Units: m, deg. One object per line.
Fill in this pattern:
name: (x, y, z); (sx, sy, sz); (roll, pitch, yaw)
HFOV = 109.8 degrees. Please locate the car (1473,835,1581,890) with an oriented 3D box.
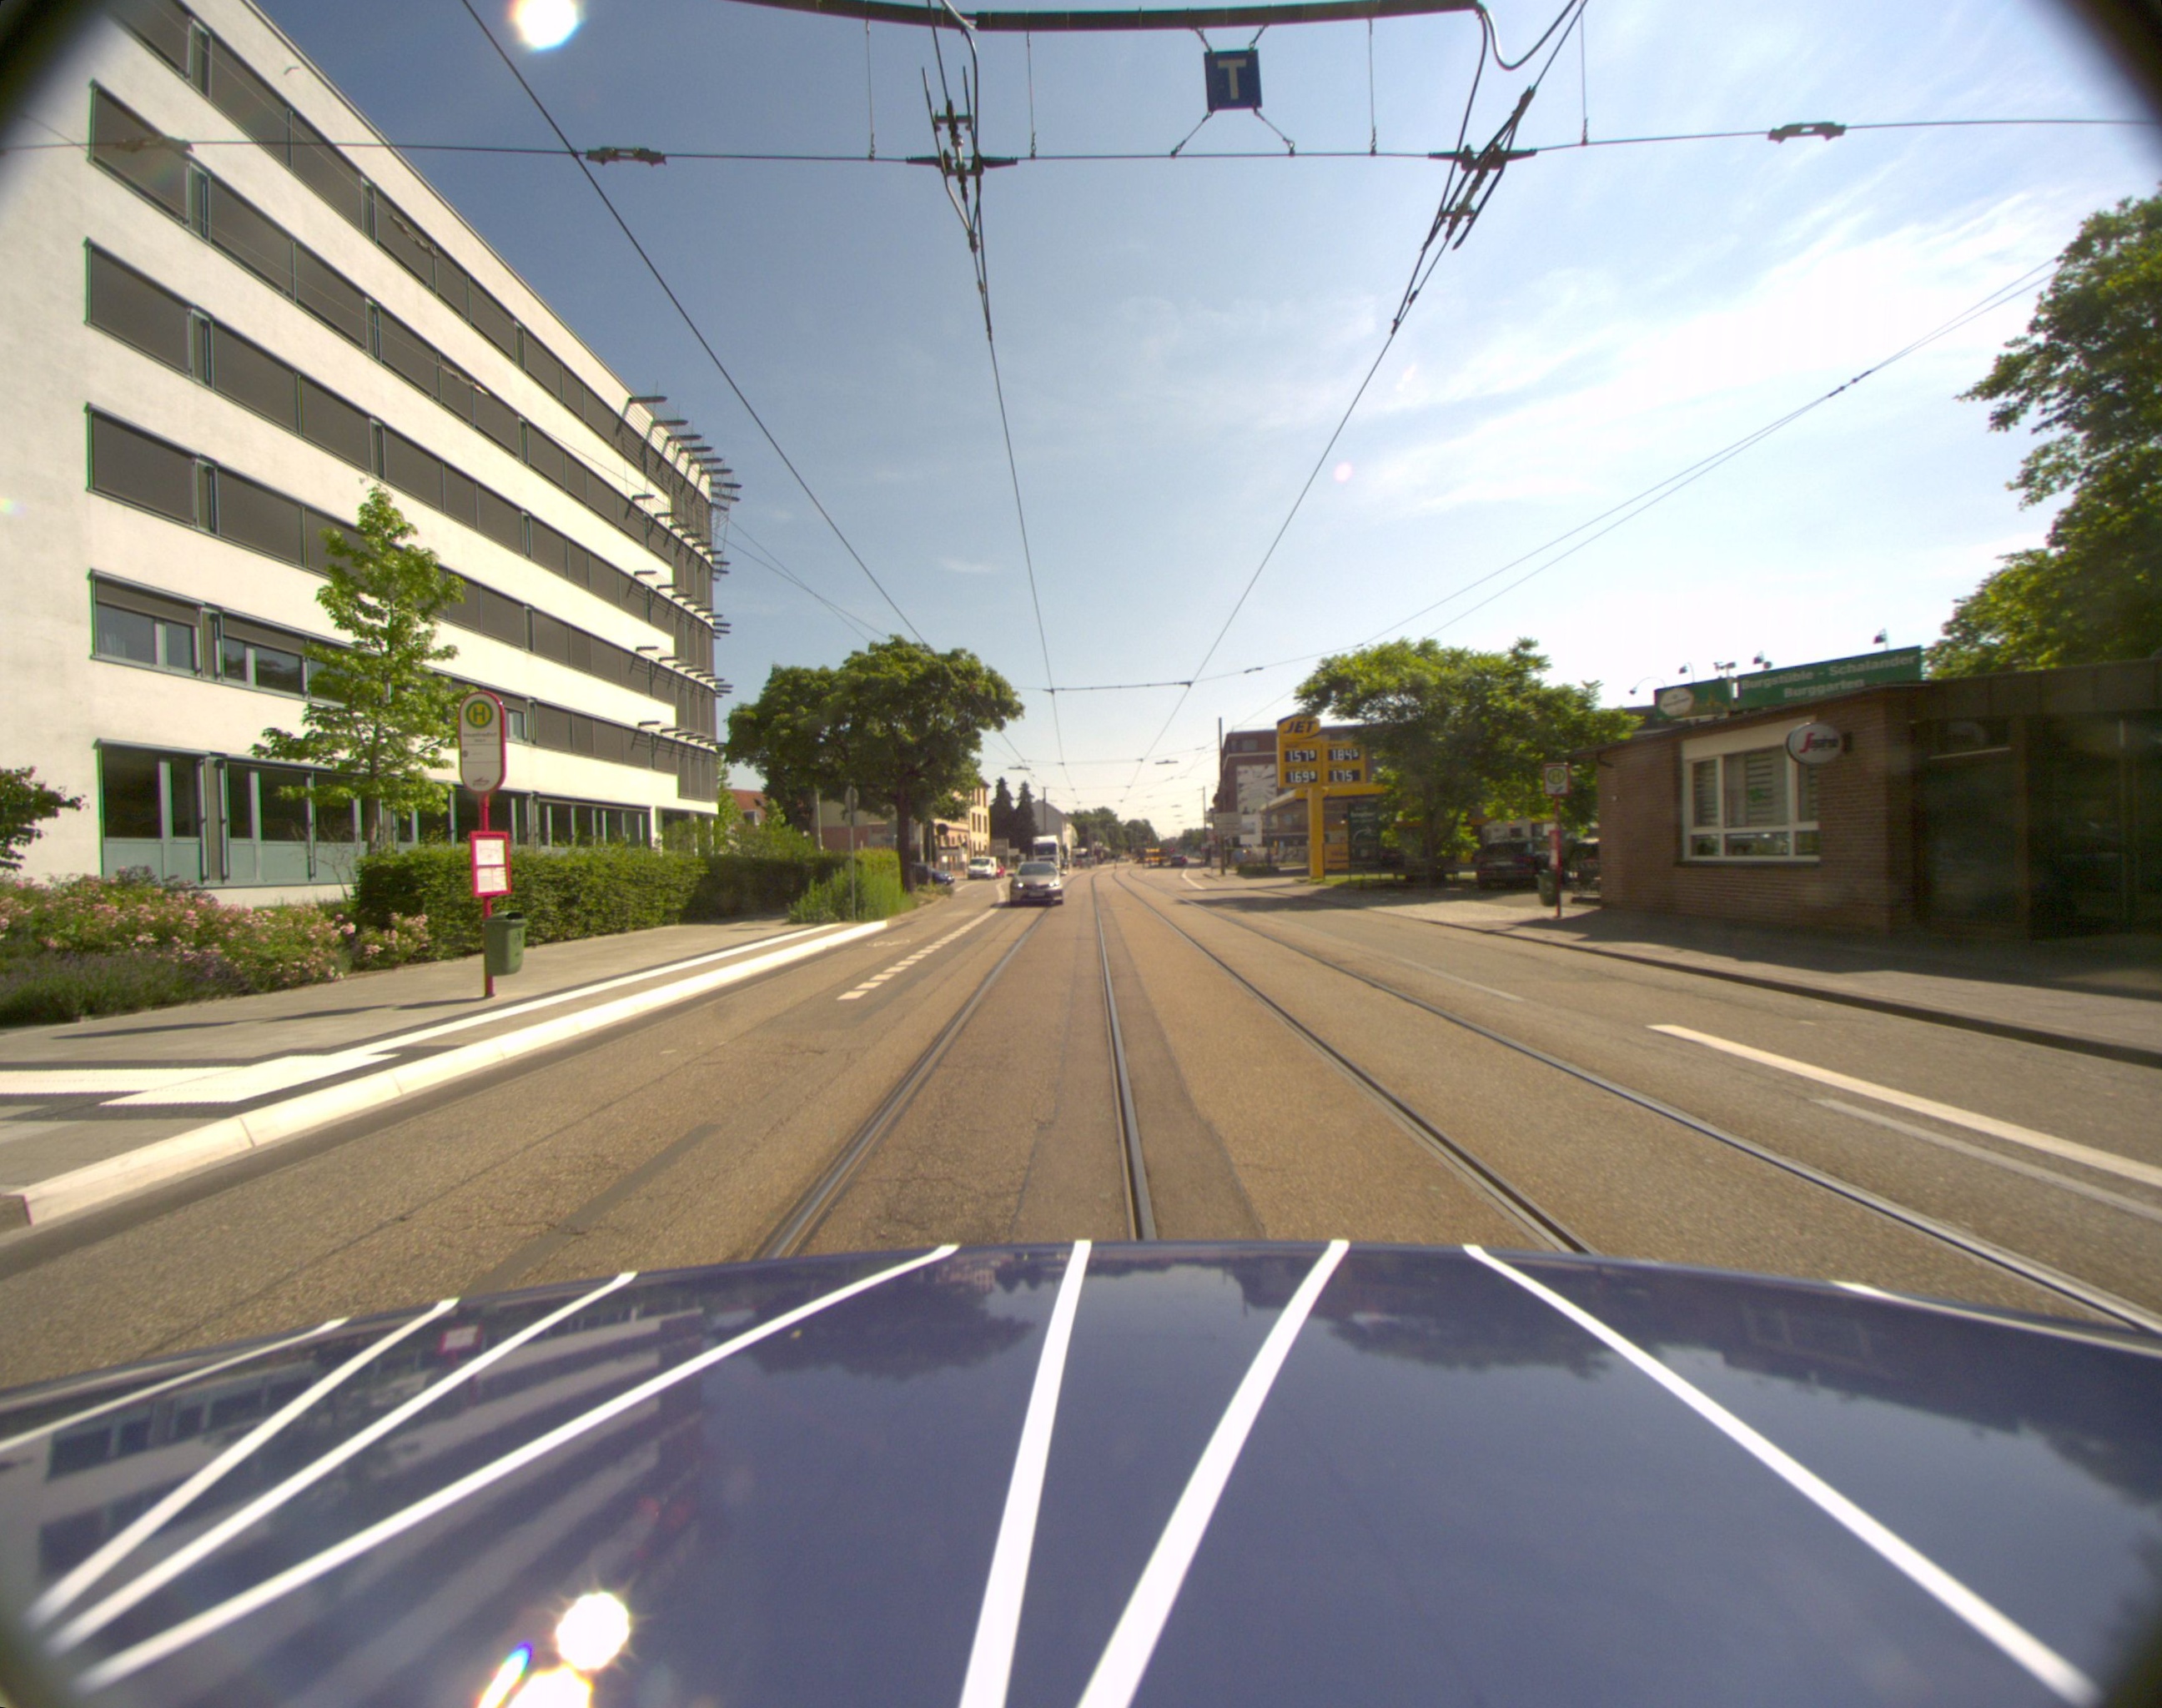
car: (14.827, 0.240, 25.141); (4.587, 1.615, 1.944); (-2, 0, -45)

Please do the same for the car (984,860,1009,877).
car: (-7.750, 1.326, 69.824); (1.726, 1.435, 4.312); (0, 0, 1)

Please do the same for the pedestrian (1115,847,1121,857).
pedestrian: (7.096, -0.320, 145.652); (0.982, 1.847, 1.238); (-1, 0, 9)

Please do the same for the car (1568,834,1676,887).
car: (16.953, 0.169, 23.719); (4.587, 1.459, 1.944); (-2, 0, -45)

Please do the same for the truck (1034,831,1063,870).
truck: (-3.292, -0.356, 78.627); (2.657, 3.772, 7.863); (-2, 0, 0)

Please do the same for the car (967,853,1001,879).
car: (-8.010, 0.972, 63.432); (1.981, 2.043, 5.191); (0, 1, 2)

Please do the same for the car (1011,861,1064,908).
car: (-1.423, 0.972, 26.271); (1.695, 1.440, 4.480); (0, 0, -1)

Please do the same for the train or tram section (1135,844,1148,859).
train or tram section: (14.206, -0.598, 177.388); (2.685, 3.460, 13.343); (-2, 0, 5)

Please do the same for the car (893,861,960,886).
car: (-9.497, 1.187, 46.923); (3.754, 1.380, 1.671); (-2, 0, 1)

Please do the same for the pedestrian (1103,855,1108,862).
pedestrian: (4.169, 0.759, 128.960); (0.630, 1.247, 0.710); (-1, 0, 8)

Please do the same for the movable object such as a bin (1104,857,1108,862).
movable object such as a bin: (4.252, 0.927, 129.555); (0.630, 0.895, 0.489); (-1, 0, 7)

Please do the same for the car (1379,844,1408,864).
car: (22.995, -0.025, 55.849); (1.698, 1.295, 4.397); (-4, 0, 26)

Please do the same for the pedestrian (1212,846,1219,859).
pedestrian: (18.642, -0.179, 105.174); (0.846, 1.808, 0.839); (-2, 0, 9)

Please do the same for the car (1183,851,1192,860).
car: (21.361, 0.247, 152.803); (1.715, 1.613, 3.581); (-3, 0, 9)

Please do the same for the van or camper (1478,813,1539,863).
van or camper: (28.365, -1.089, 50.693); (2.611, 2.950, 6.722); (-5, 0, 23)

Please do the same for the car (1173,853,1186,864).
car: (13.678, 0.612, 105.581); (1.749, 1.562, 3.893); (-1, 1, 6)

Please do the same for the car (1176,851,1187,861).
car: (18.175, 0.292, 137.688); (1.804, 1.718, 4.192); (-3, -1, 9)
